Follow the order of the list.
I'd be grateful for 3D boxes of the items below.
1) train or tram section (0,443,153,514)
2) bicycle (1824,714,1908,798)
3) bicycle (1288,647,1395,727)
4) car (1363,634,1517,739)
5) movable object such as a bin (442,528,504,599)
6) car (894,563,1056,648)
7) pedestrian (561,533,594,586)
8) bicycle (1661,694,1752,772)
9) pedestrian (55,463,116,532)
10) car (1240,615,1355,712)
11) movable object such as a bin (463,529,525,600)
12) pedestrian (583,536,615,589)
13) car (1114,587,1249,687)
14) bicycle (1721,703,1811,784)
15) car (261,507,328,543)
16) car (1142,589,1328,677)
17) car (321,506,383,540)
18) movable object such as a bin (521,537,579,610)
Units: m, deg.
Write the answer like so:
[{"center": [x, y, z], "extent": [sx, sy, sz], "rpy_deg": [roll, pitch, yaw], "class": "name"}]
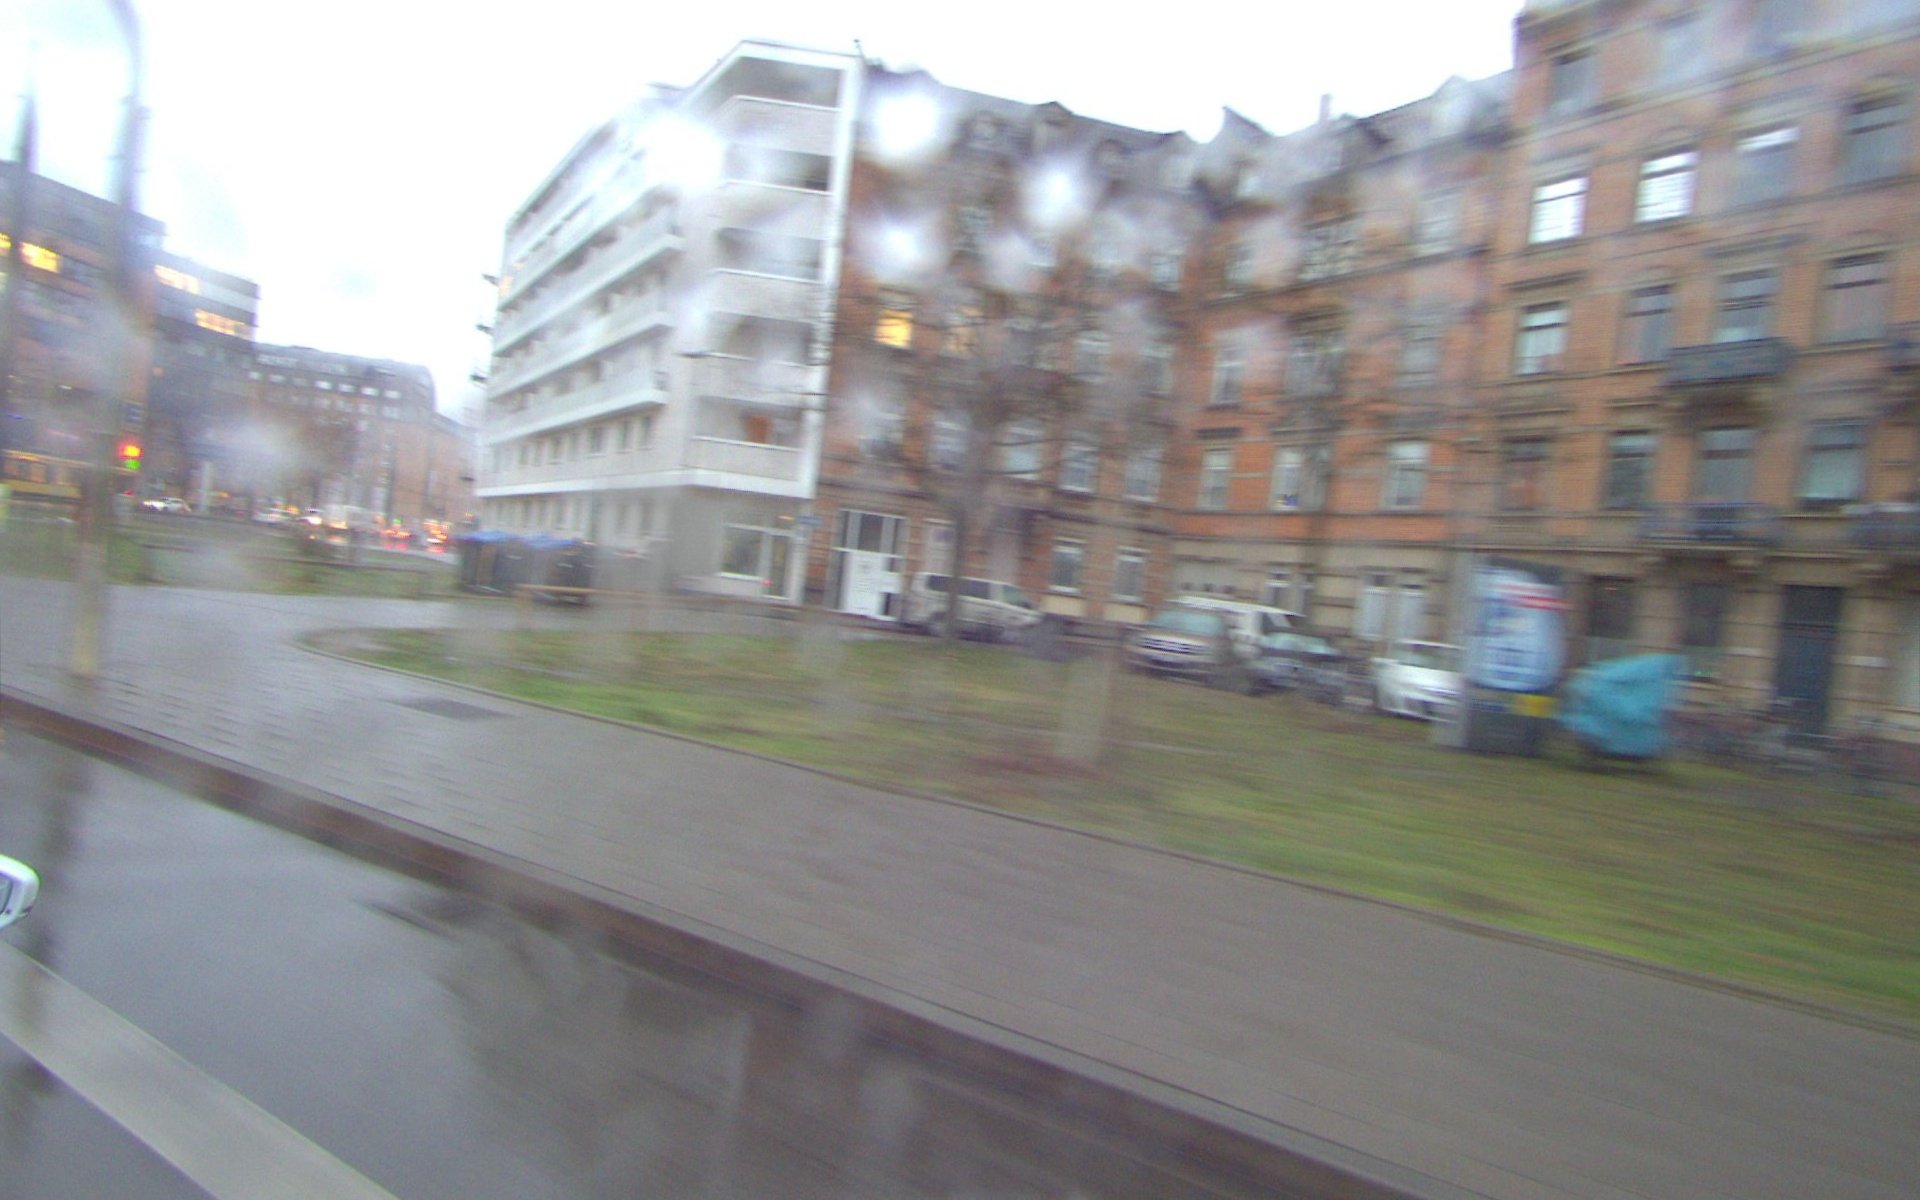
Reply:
[{"center": [-59.970, -8.088, 66.126], "extent": [2.293, 3.301, 13.002], "rpy_deg": [7, 0, 4], "class": "train or tram section"}, {"center": [12.361, 2.087, 13.703], "extent": [2.156, 0.978, 0.618], "rpy_deg": [6, 1, -44], "class": "bicycle"}, {"center": [5.619, 1.264, 14.937], "extent": [0.506, 0.949, 1.646], "rpy_deg": [6, 1, -16], "class": "bicycle"}, {"center": [7.932, 1.360, 16.948], "extent": [1.666, 1.353, 3.859], "rpy_deg": [7, 0, 18], "class": "car"}, {"center": [-11.519, -0.868, 23.792], "extent": [1.021, 1.513, 1.317], "rpy_deg": [7, 0, -34], "class": "movable object such as a bin"}, {"center": [0.420, 0.210, 31.969], "extent": [4.670, 1.940, 1.998], "rpy_deg": [9, -2, -10], "class": "car"}, {"center": [-13.237, -1.412, 34.821], "extent": [0.673, 1.734, 0.599], "rpy_deg": [9, -1, -41], "class": "pedestrian"}, {"center": [11.055, 1.980, 14.864], "extent": [2.158, 0.978, 0.618], "rpy_deg": [9, 1, -44], "class": "bicycle"}, {"center": [-27.796, -3.249, 31.990], "extent": [0.886, 1.946, 1.169], "rpy_deg": [7, -2, 42], "class": "pedestrian"}, {"center": [6.121, 1.145, 18.525], "extent": [1.646, 1.371, 3.747], "rpy_deg": [8, -1, 17], "class": "car"}, {"center": [-10.557, -0.809, 22.765], "extent": [1.007, 1.434, 1.213], "rpy_deg": [5, 2, -33], "class": "movable object such as a bin"}, {"center": [-12.699, -1.313, 35.365], "extent": [0.673, 1.734, 0.622], "rpy_deg": [9, -1, -41], "class": "pedestrian"}, {"center": [4.633, 0.733, 20.620], "extent": [1.908, 1.657, 3.996], "rpy_deg": [6, 1, 22], "class": "car"}, {"center": [11.532, 2.059, 14.365], "extent": [2.158, 0.978, 0.618], "rpy_deg": [9, 1, -44], "class": "bicycle"}, {"center": [-51.879, -5.812, 78.555], "extent": [1.962, 2.037, 4.005], "rpy_deg": [8, -2, 9], "class": "car"}, {"center": [8.097, 0.926, 30.019], "extent": [1.984, 2.040, 4.930], "rpy_deg": [5, 1, -41], "class": "car"}, {"center": [-52.016, -6.545, 86.196], "extent": [1.963, 2.036, 4.954], "rpy_deg": [8, -2, 2], "class": "car"}, {"center": [-9.469, -0.600, 23.210], "extent": [1.025, 1.507, 1.035], "rpy_deg": [9, -1, -25], "class": "movable object such as a bin"}]
